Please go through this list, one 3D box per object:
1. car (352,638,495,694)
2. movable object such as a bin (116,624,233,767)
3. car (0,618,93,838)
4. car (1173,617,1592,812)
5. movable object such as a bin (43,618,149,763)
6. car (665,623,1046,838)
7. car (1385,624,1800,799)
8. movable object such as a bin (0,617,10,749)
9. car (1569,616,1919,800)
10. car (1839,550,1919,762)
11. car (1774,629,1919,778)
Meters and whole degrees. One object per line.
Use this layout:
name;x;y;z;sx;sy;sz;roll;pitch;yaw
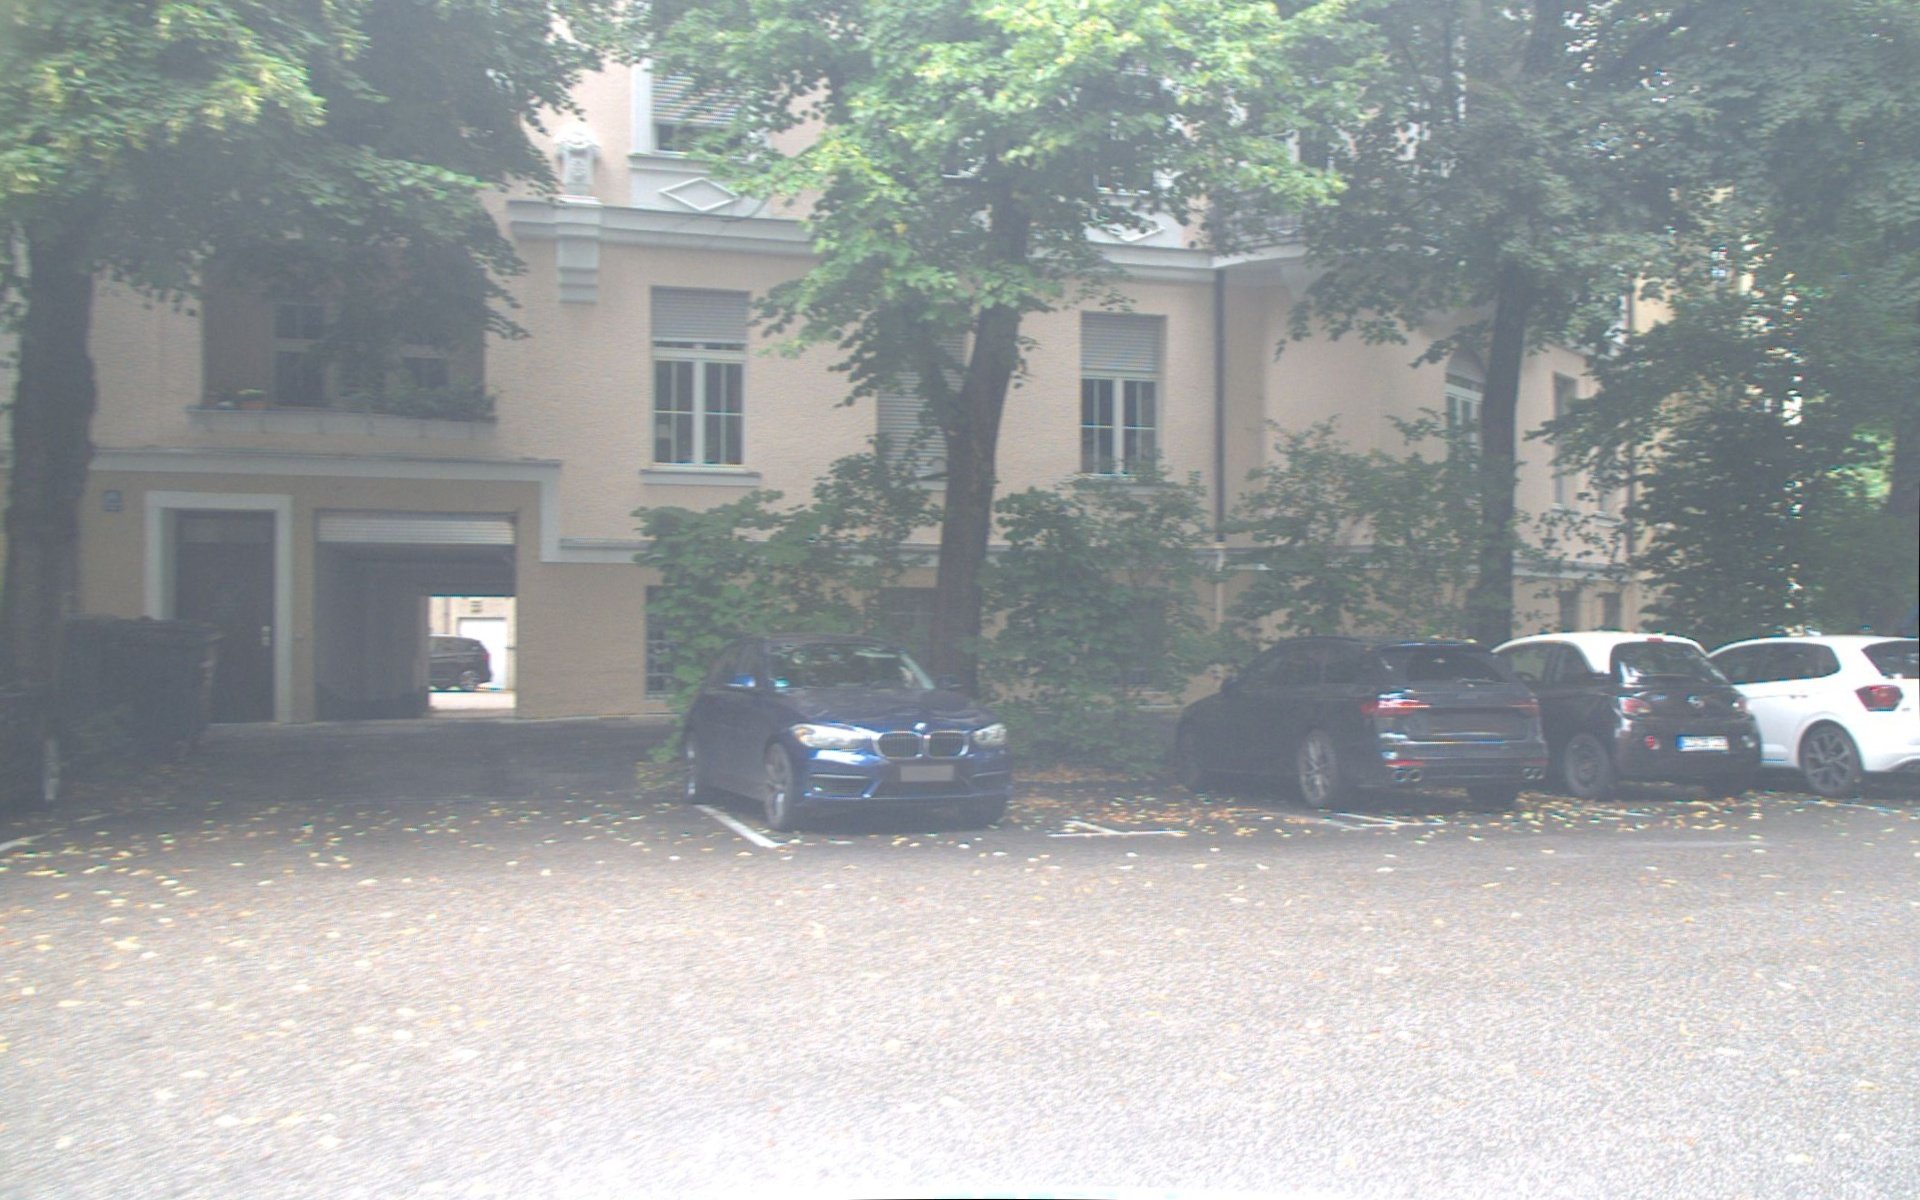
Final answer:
car;-15.477;1.886;47.701;3.793;1.545;1.644;1;-1;-24
movable object such as a bin;-7.792;0.926;16.463;0.850;1.328;1.424;3;-1;-20
car;-7.379;0.859;11.271;1.676;1.493;4.269;2;-3;-15
car;3.503;0.963;14.610;1.826;1.450;4.147;0;-3;-14
movable object such as a bin;-8.602;0.873;16.512;0.702;1.371;1.366;1;-1;-18
car;-1.026;0.914;13.205;1.813;1.407;4.313;0;-2;-22
car;5.853;1.067;15.814;1.798;1.451;3.732;0;-4;-16
movable object such as a bin;-10.526;0.860;17.049;1.101;1.372;0.859;1;0;-20
car;8.128;1.068;16.247;1.769;1.540;4.264;0;-4;-17
car;12.280;0.564;17.490;2.025;2.396;5.470;1;-3;-16
car;10.152;1.028;16.615;1.612;1.458;3.538;1;-2;-15
